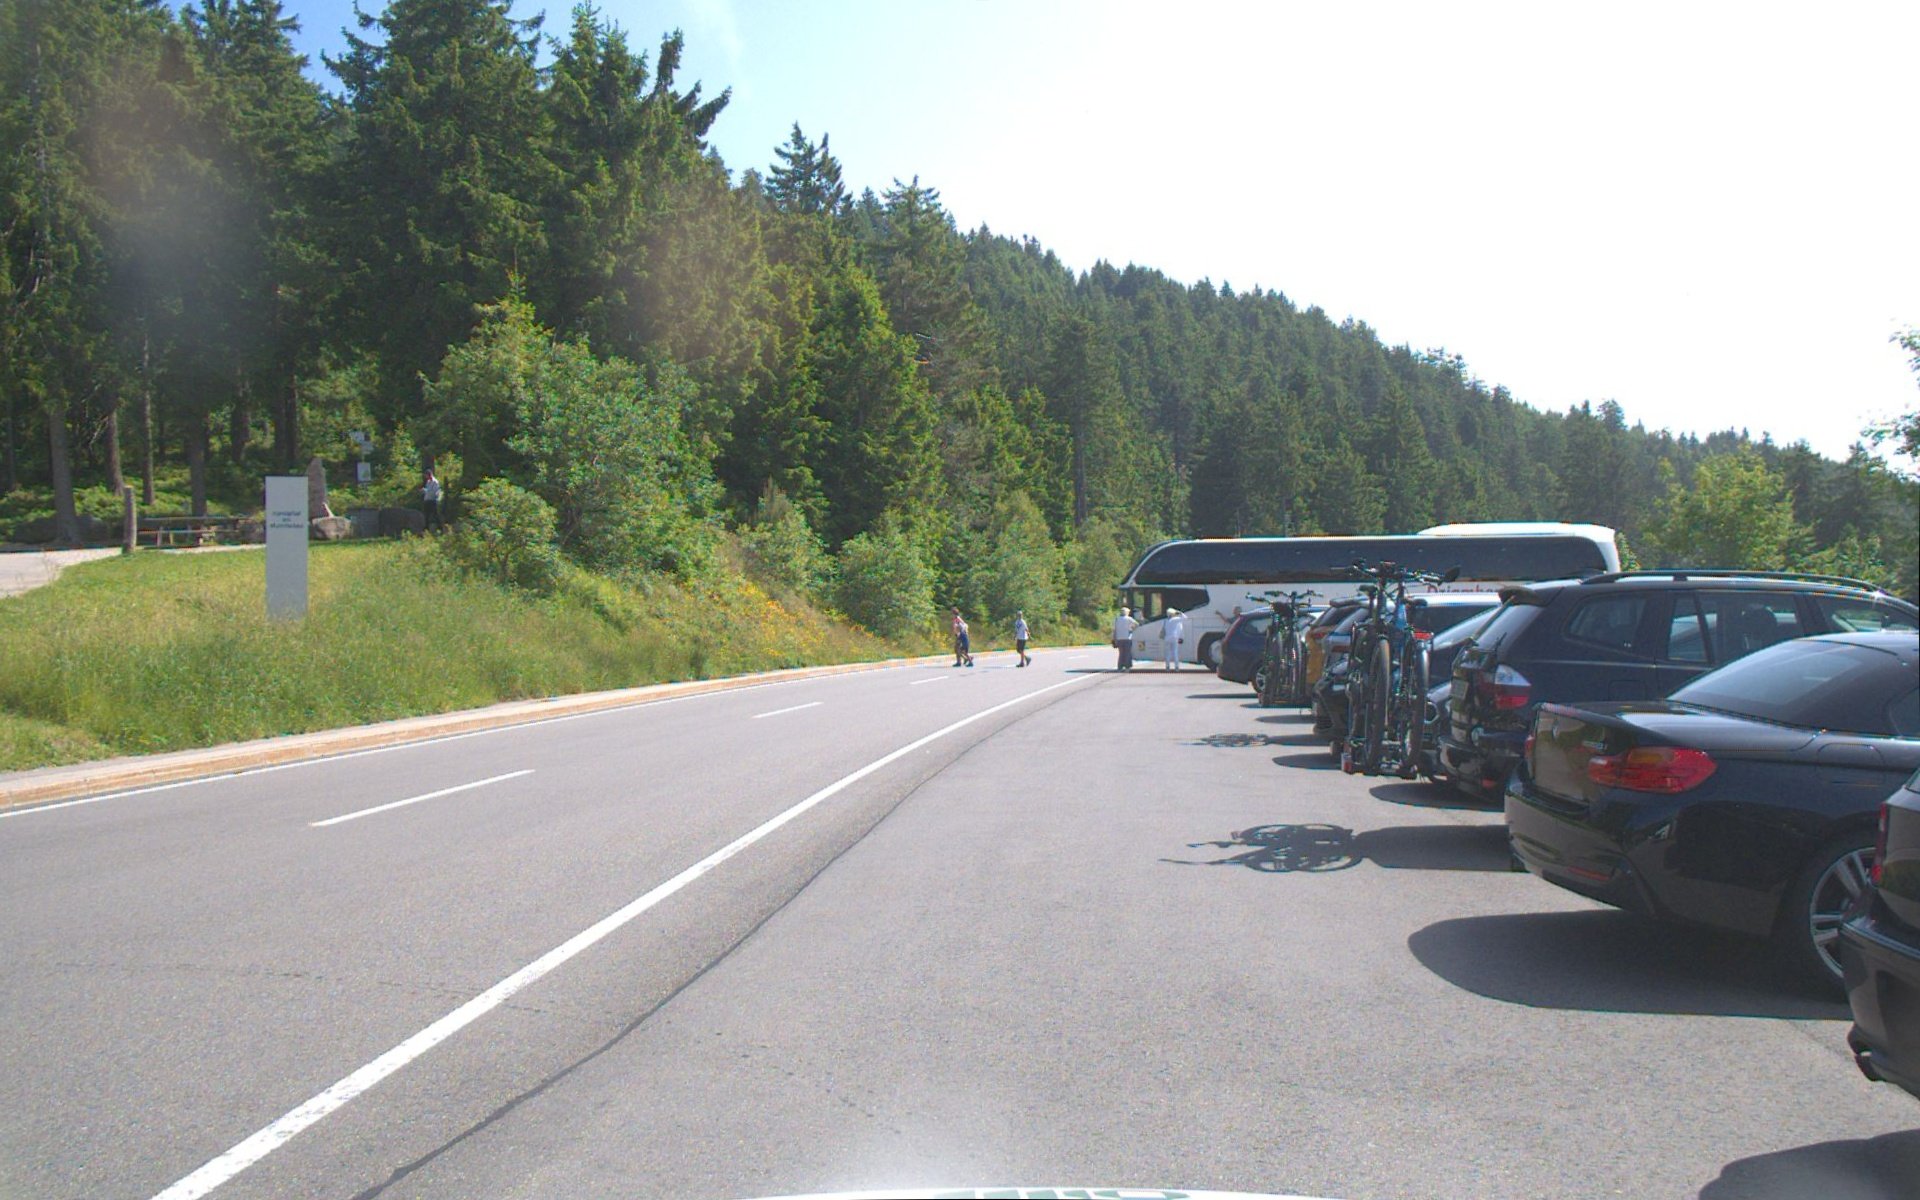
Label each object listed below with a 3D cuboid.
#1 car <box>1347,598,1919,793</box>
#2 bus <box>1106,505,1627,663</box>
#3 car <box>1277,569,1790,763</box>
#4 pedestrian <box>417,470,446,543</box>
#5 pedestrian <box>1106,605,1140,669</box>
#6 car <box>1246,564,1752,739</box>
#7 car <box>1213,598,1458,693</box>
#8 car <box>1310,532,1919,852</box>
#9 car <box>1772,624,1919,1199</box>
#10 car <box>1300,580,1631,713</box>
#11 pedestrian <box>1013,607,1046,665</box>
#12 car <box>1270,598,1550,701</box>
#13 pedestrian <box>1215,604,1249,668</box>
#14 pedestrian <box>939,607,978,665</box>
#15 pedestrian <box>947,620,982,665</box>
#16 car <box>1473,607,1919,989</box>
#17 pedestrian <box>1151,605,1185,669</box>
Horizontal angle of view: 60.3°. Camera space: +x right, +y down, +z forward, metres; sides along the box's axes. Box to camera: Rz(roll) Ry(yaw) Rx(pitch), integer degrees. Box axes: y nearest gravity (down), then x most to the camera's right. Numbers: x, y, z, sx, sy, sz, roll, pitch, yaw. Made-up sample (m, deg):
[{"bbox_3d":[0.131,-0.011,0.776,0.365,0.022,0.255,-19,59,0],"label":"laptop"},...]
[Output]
[{"bbox_3d":[5.219,0.692,12.684,4.154,1.291,1.839,-2,0,6],"label":"car"},{"bbox_3d":[10.488,-0.321,43.585,12.816,3.594,3.045,-2,0,17],"label":"bus"},{"bbox_3d":[5.152,0.588,15.361,4.154,1.581,1.839,-2,0,6],"label":"car"},{"bbox_3d":[-14.279,-2.523,44.704,0.669,1.910,0.540,-2,0,-15],"label":"pedestrian"},{"bbox_3d":[4.234,0.952,42.892,0.754,1.613,0.773,-2,-1,13],"label":"pedestrian"},{"bbox_3d":[5.716,0.546,18.159,4.927,1.680,2.049,-2,0,6],"label":"car"},{"bbox_3d":[6.390,0.773,28.539,3.902,1.474,1.862,-2,0,6],"label":"car"},{"bbox_3d":[4.655,0.510,9.961,4.843,1.725,1.947,-1,0,8],"label":"car"},{"bbox_3d":[4.349,0.801,3.964,4.000,1.400,1.701,1,0,-3],"label":"car"},{"bbox_3d":[6.568,0.601,21.832,3.902,1.581,1.661,-2,0,6],"label":"car"},{"bbox_3d":[1.999,1.034,47.734,0.837,1.613,0.817,-2,-1,-3],"label":"pedestrian"},{"bbox_3d":[6.810,0.742,25.350,3.902,1.422,1.621,-2,0,6],"label":"car"},{"bbox_3d":[7.033,0.926,42.705,0.753,1.613,0.773,-2,-1,14],"label":"pedestrian"},{"bbox_3d":[-0.052,1.079,49.555,0.843,1.713,0.863,-1,-1,-26],"label":"pedestrian"},{"bbox_3d":[0.125,1.247,48.631,0.725,1.302,0.777,-1,-1,-26],"label":"pedestrian"},{"bbox_3d":[4.441,0.768,7.021,3.998,1.400,1.702,1,0,0],"label":"car"},{"bbox_3d":[5.370,0.953,42.603,0.754,1.613,0.773,-2,-1,13],"label":"pedestrian"}]
